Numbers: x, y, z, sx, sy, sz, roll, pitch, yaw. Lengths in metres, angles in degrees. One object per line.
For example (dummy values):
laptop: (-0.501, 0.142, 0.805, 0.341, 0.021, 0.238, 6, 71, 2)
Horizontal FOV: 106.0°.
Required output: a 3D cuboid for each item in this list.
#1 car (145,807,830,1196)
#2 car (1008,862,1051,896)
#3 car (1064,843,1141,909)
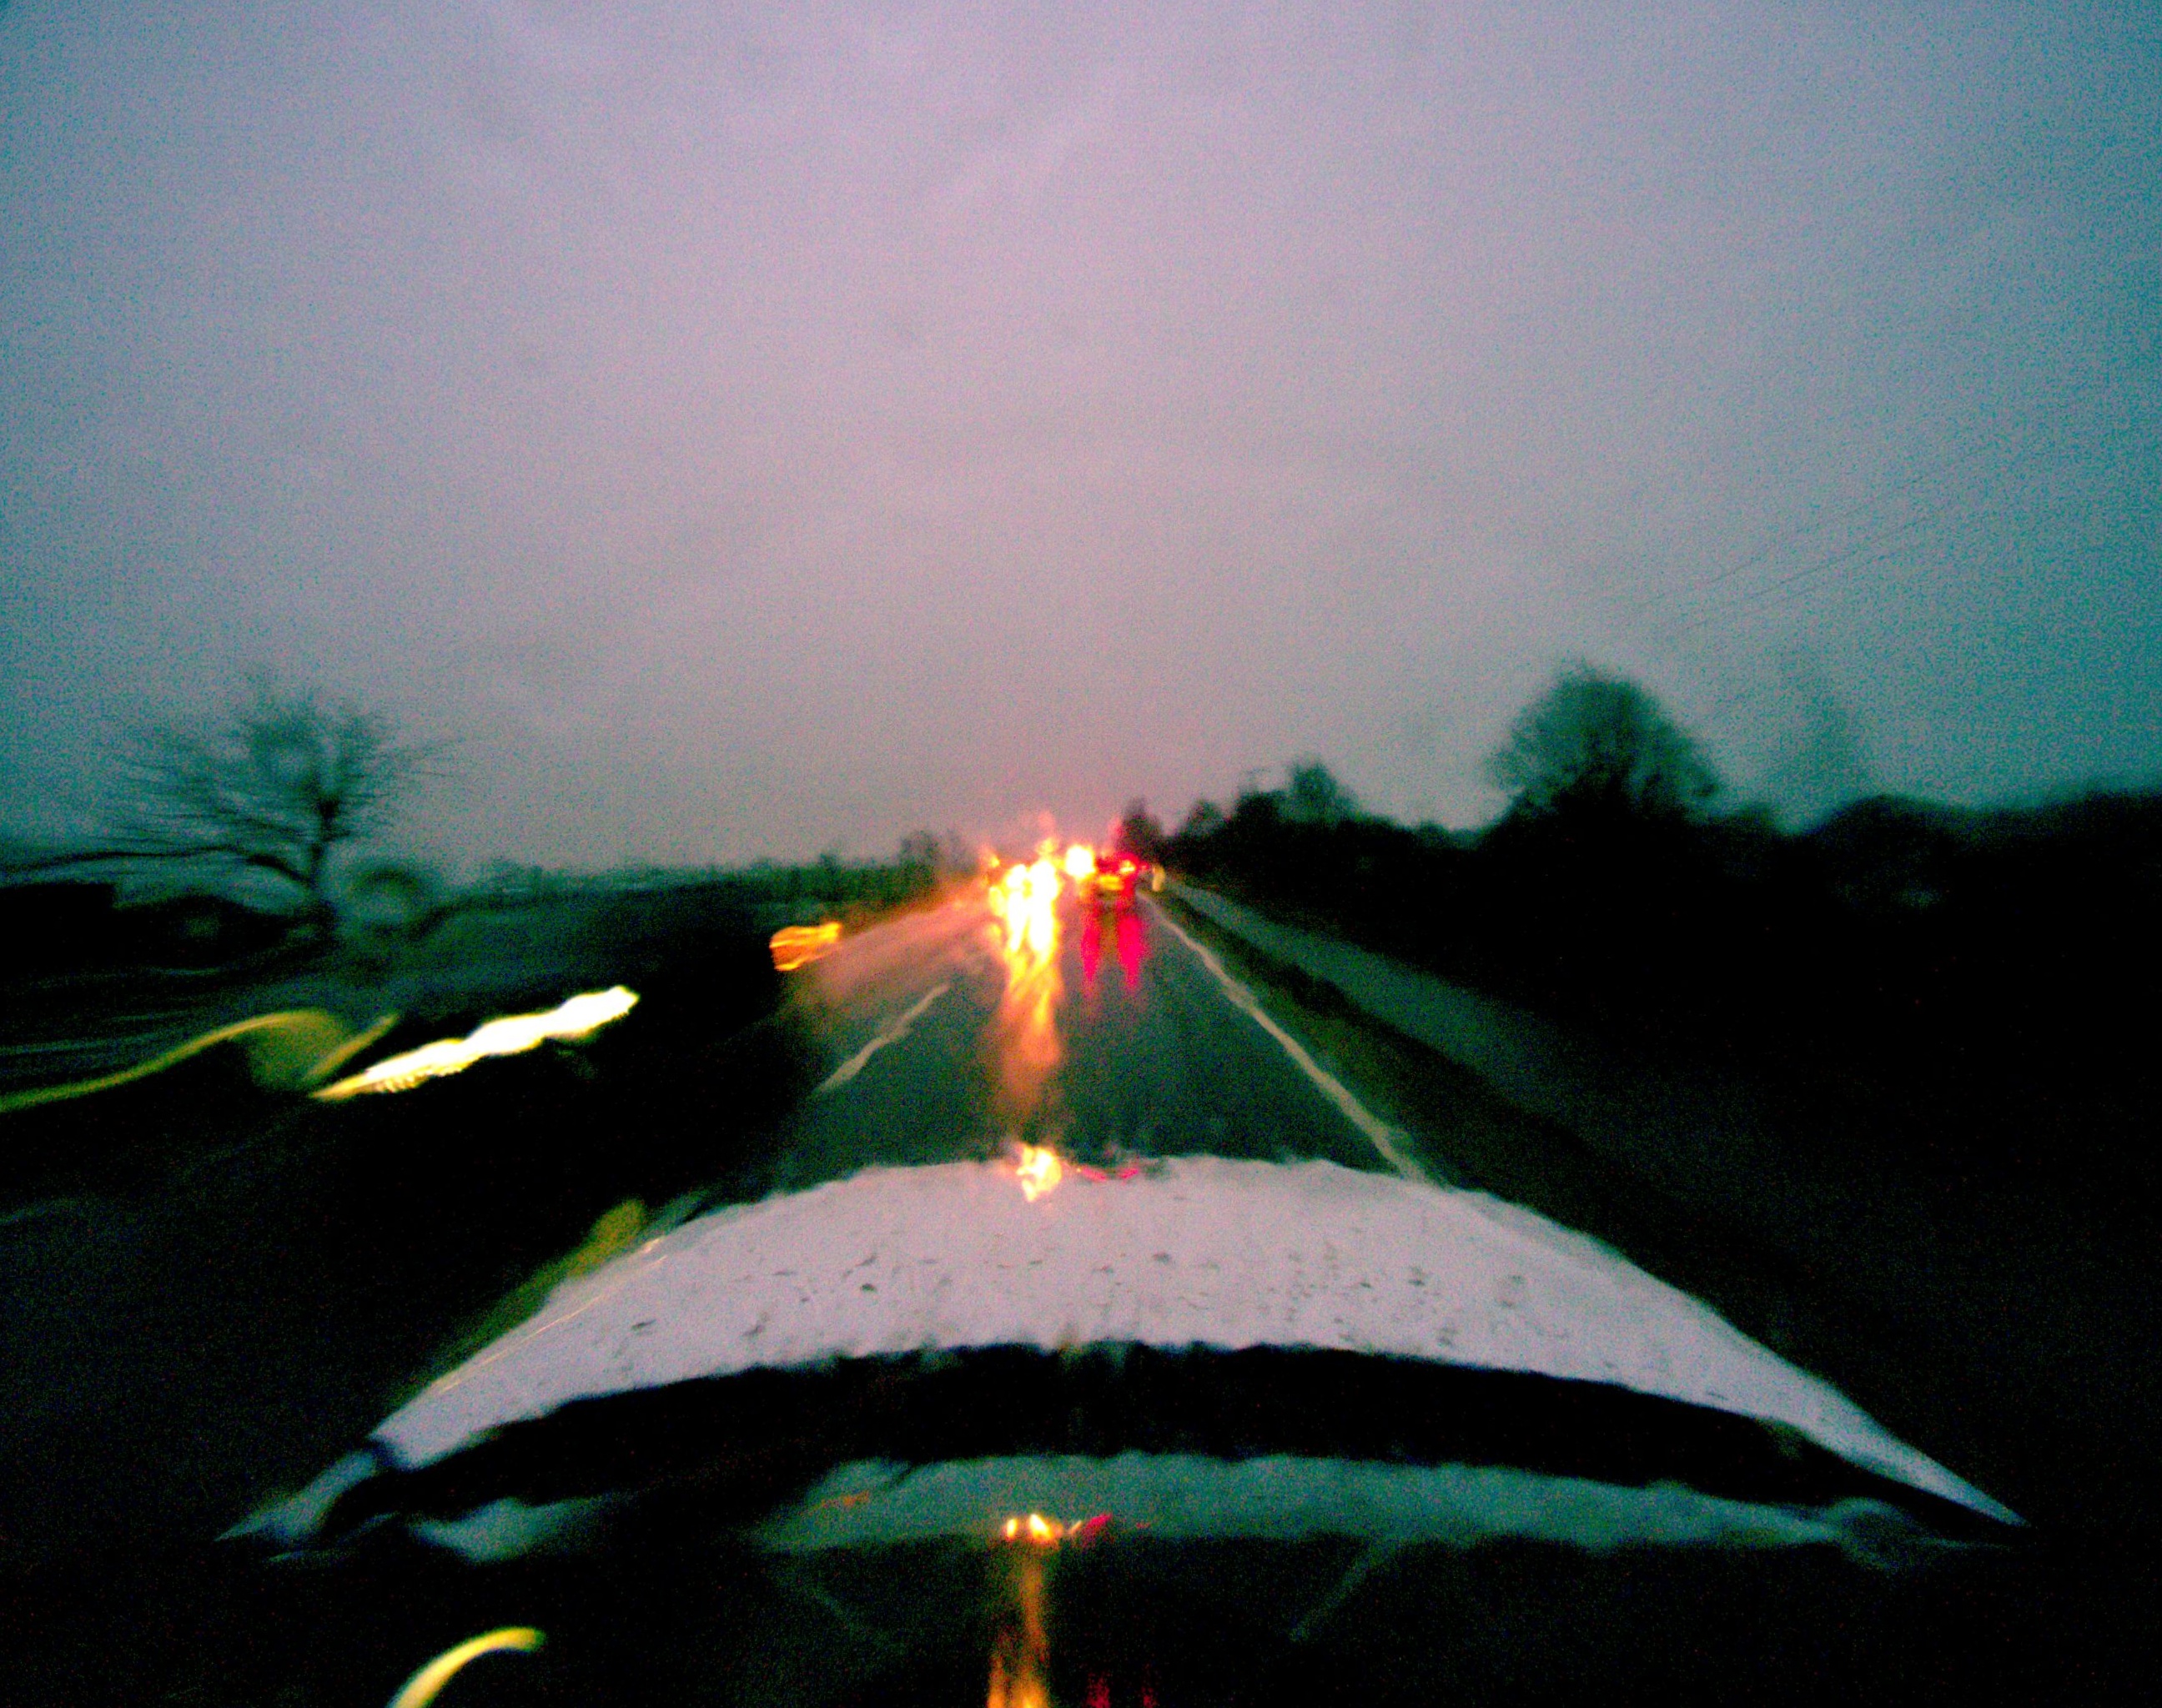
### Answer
car: (-3.609, 0.721, 6.247, 1.818, 1.806, 4.494, -3, 0, 1)
car: (-2.472, 1.170, 40.070, 1.682, 1.479, 3.775, -3, 0, 2)
car: (0.687, 0.609, 25.411, 2.112, 1.820, 4.982, -1, 0, 2)
